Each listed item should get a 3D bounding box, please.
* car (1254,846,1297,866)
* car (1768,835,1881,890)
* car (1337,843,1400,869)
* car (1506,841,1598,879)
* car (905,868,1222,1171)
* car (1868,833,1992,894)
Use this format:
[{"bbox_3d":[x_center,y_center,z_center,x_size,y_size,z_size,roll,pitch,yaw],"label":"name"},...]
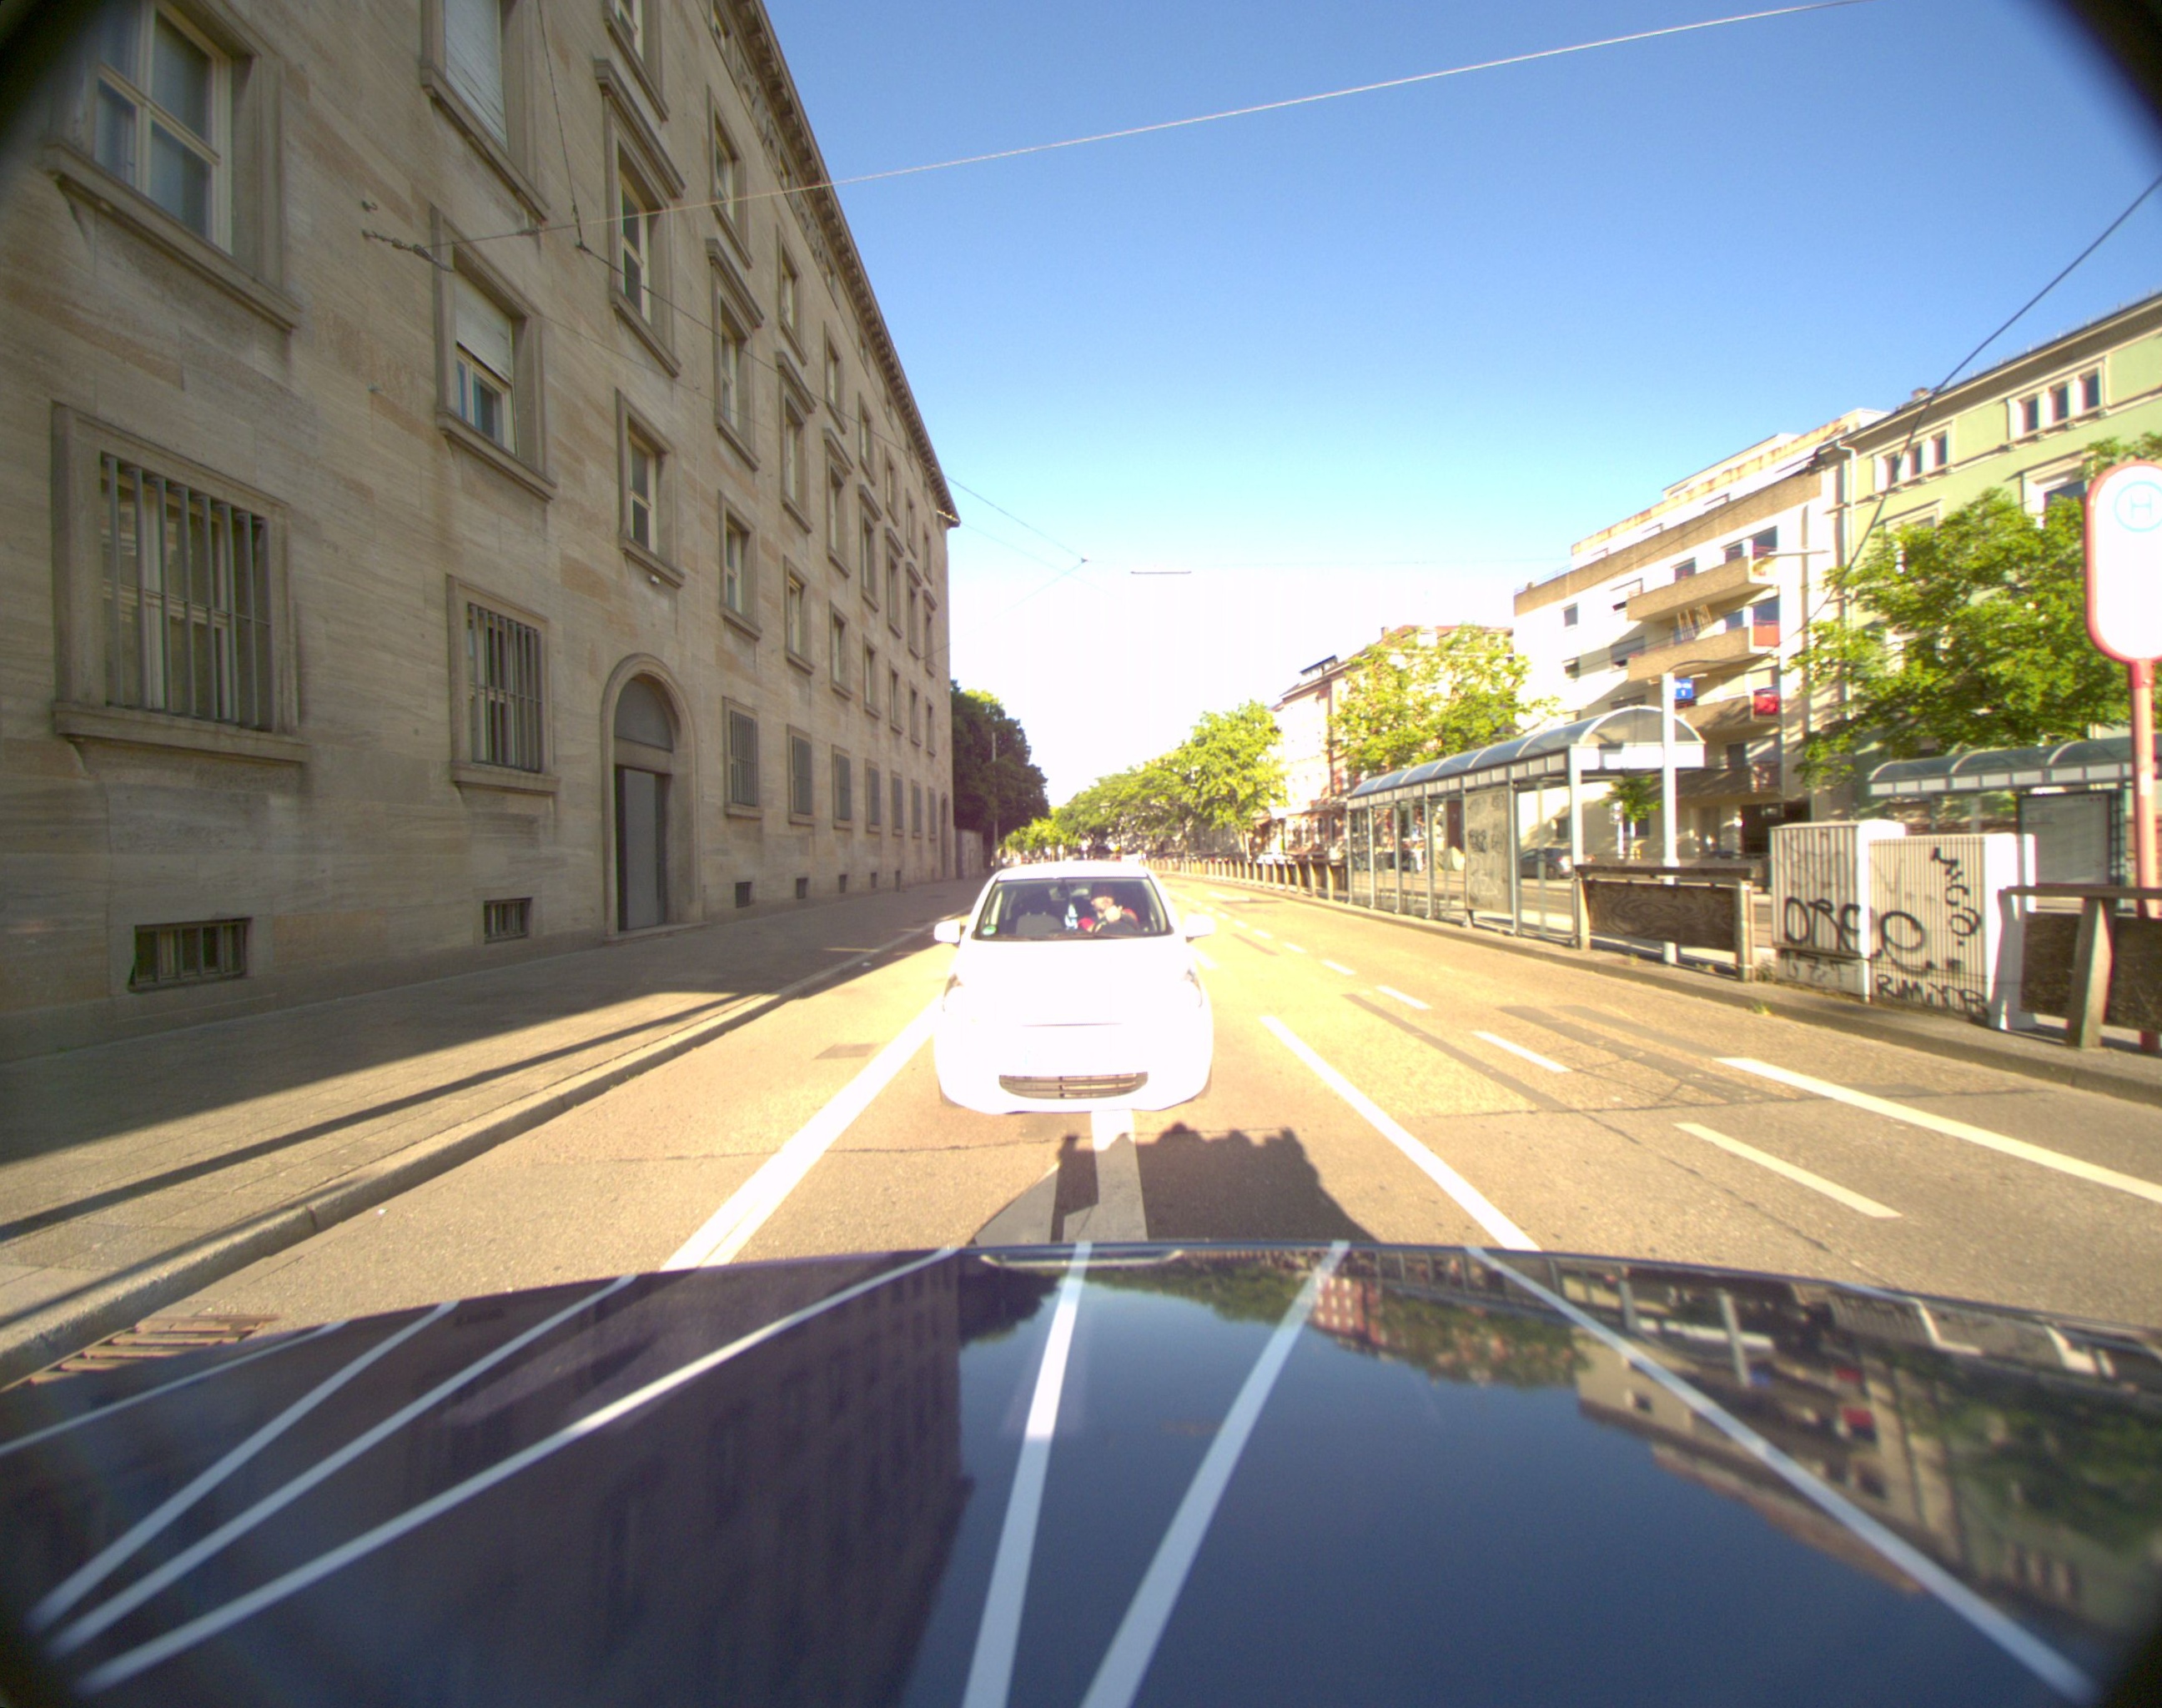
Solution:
[{"bbox_3d":[16.267,0.164,63.473,3.607,1.558,1.627,-3,1,-42],"label":"car"},{"bbox_3d":[23.891,0.232,24.398,3.605,1.558,1.627,-3,1,-29],"label":"car"},{"bbox_3d":[19.552,0.133,51.719,3.599,1.558,1.630,-2,1,-7],"label":"car"},{"bbox_3d":[20.922,0.239,33.929,1.631,1.558,3.598,-2,1,-5],"label":"car"},{"bbox_3d":[-0.068,0.907,5.806,1.612,1.462,3.631,-2,0,1],"label":"car"},{"bbox_3d":[24.470,0.238,21.886,3.605,1.558,1.627,-3,1,-29],"label":"car"}]
